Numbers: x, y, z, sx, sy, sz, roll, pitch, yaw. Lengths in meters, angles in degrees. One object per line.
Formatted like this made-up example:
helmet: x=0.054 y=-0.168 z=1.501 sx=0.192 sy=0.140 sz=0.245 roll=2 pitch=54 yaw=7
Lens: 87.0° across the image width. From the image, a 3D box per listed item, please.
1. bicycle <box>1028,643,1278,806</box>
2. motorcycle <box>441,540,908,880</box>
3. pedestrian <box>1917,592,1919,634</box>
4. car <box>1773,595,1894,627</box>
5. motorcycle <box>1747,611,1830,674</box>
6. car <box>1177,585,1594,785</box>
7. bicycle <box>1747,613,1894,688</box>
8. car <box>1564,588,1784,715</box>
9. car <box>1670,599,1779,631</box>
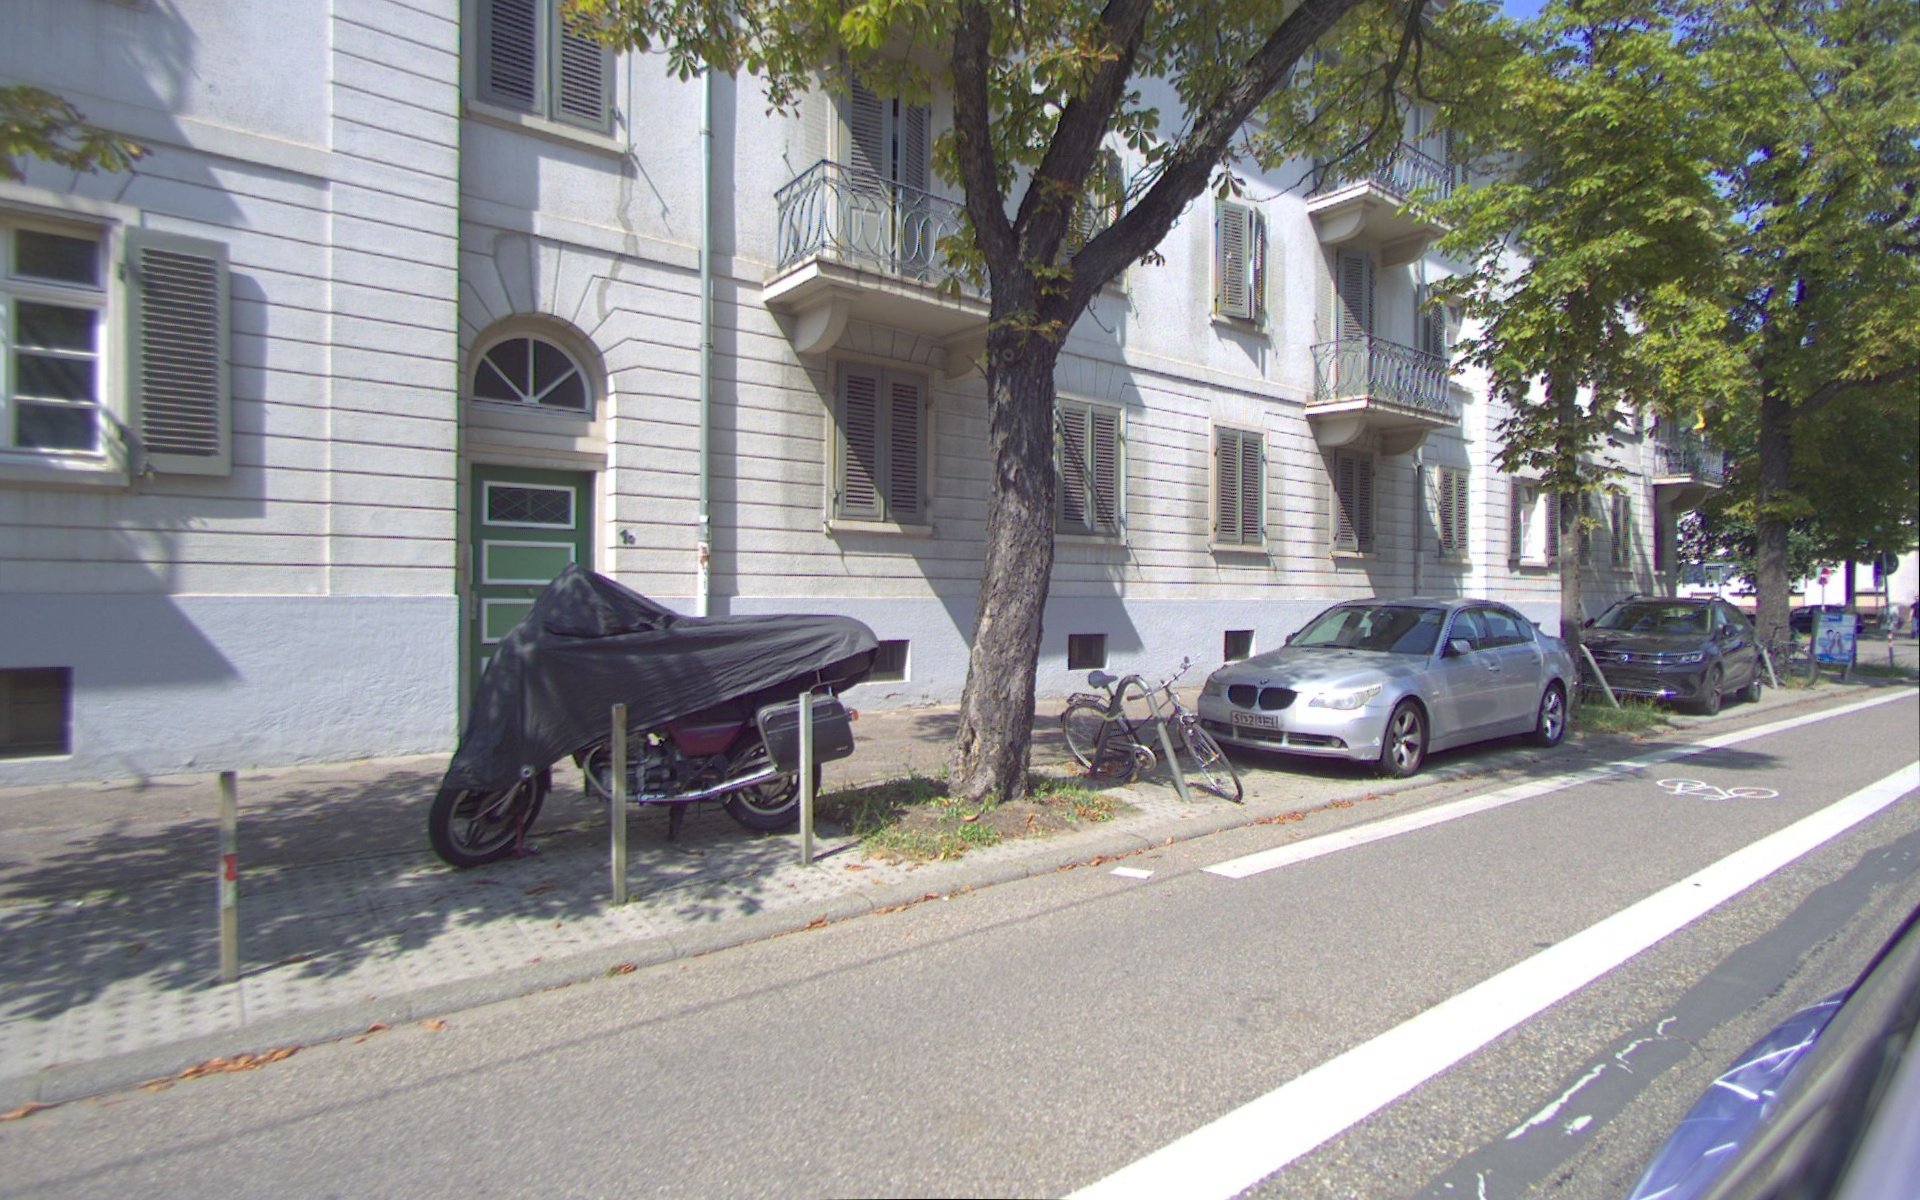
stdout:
bicycle: x=1.384 y=0.858 z=7.639 sx=0.707 sy=0.964 sz=1.929 roll=0 pitch=0 yaw=-34
motorcycle: x=-1.546 y=0.492 z=5.647 sx=2.363 sy=1.572 sz=0.890 roll=0 pitch=1 yaw=-30
pedestrian: x=42.092 y=0.558 z=43.901 sx=0.620 sy=1.808 sz=0.749 roll=0 pitch=0 yaw=-37
car: x=42.036 y=0.520 z=48.830 sx=1.934 sy=1.461 sz=4.008 roll=0 pitch=0 yaw=-15
motorcycle: x=16.062 y=0.784 z=19.592 sx=2.453 sy=1.125 sz=0.828 roll=0 pitch=0 yaw=-40
car: x=4.254 y=0.616 z=9.718 sx=4.667 sy=1.469 sz=1.786 roll=0 pitch=1 yaw=-40
bicycle: x=14.163 y=0.801 z=16.707 sx=0.644 sy=1.137 sz=1.759 roll=0 pitch=0 yaw=-38
car: x=10.259 y=0.610 z=14.402 sx=4.359 sy=1.526 sz=1.665 roll=0 pitch=1 yaw=-43
car: x=36.629 y=0.671 z=48.630 sx=1.799 sy=1.448 sz=4.007 roll=0 pitch=0 yaw=-11
